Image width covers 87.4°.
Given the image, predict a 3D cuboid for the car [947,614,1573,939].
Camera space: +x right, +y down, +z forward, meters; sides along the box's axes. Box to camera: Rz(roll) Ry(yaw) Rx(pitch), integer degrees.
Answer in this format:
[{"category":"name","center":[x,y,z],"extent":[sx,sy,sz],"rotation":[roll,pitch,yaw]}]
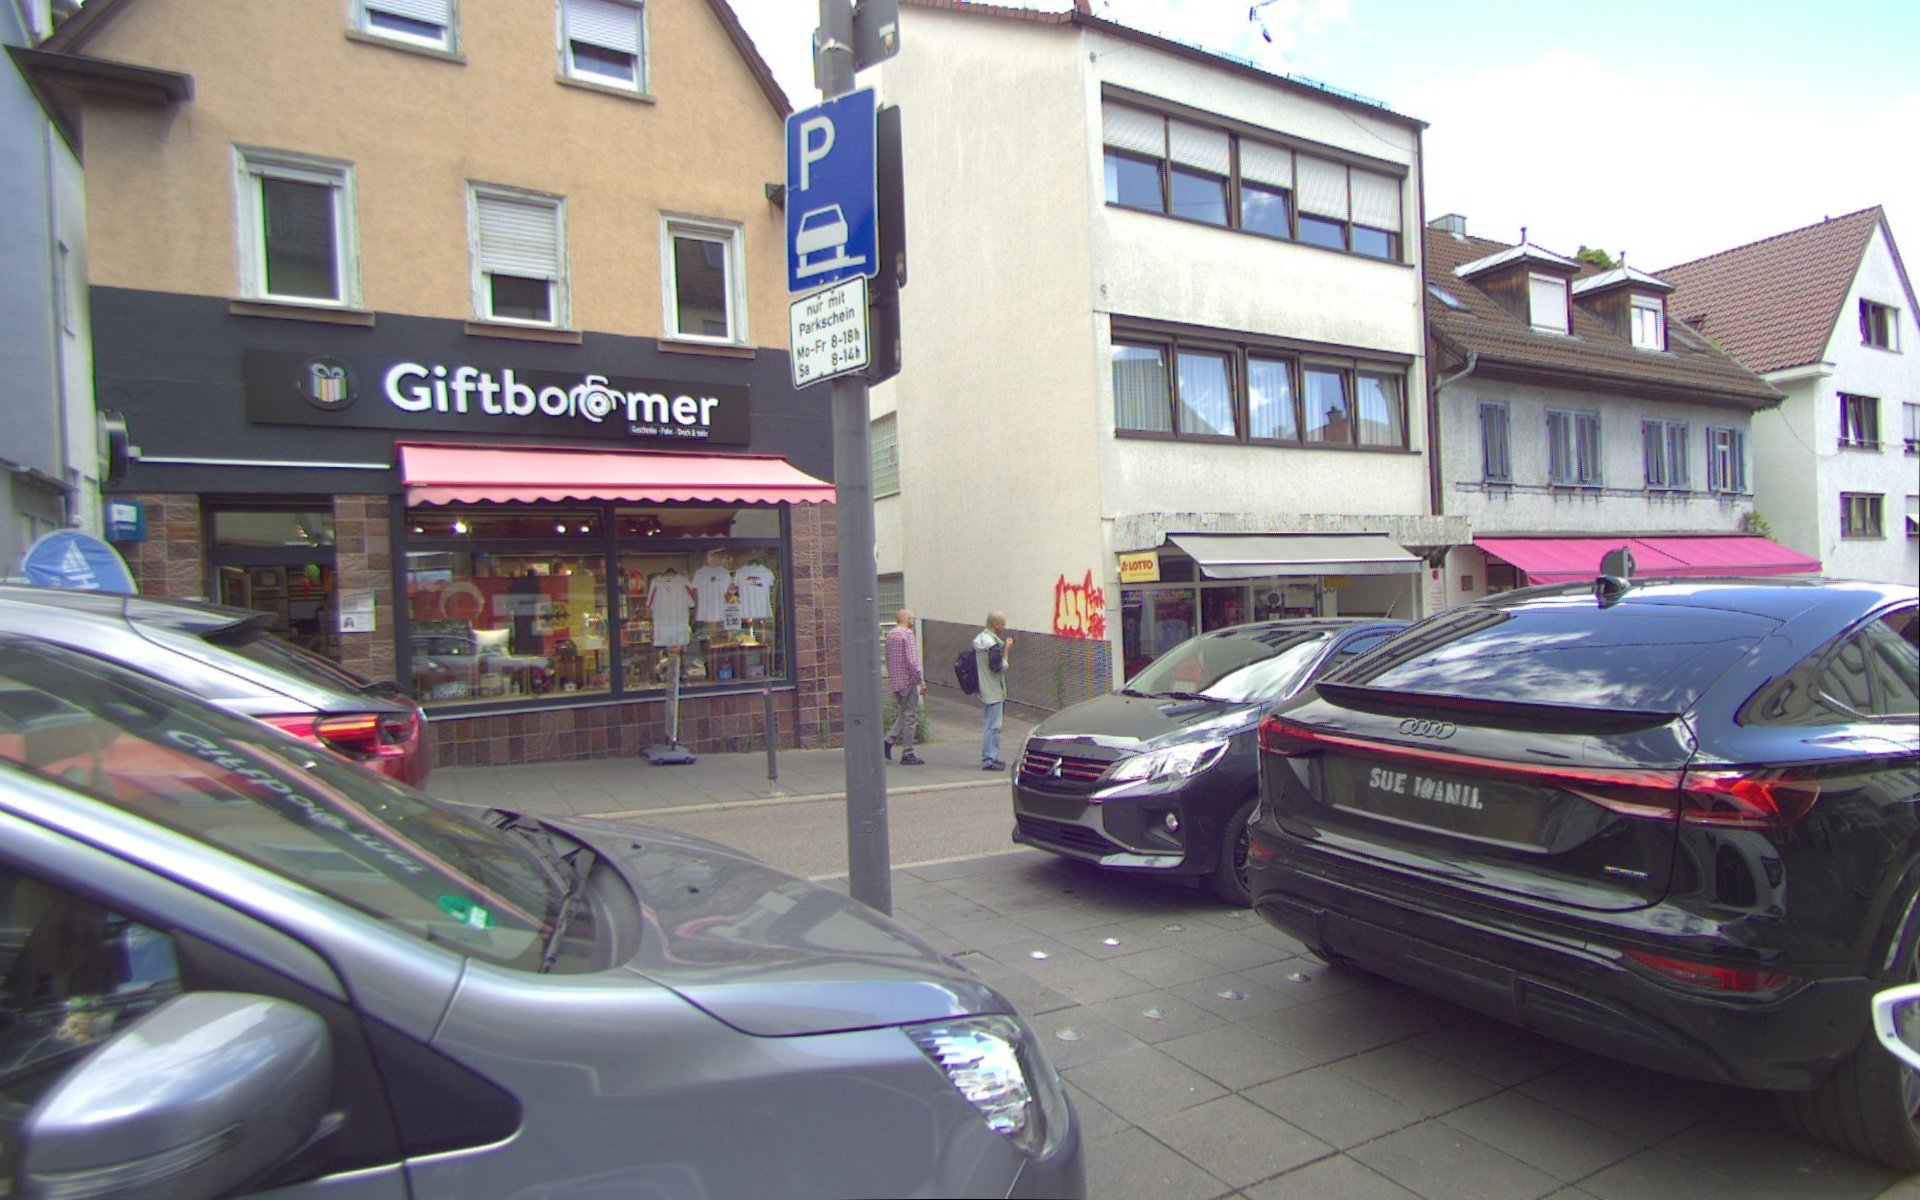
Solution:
[{"category":"car","center":[1.994,0.866,6.399],"extent":[3.841,1.495,1.730],"rotation":[1,-2,-32]}]

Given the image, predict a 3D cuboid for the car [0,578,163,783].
[{"category":"car","center":[-10.355,0.722,10.973],"extent":[1.860,1.898,4.054],"rotation":[0,1,-28]}]

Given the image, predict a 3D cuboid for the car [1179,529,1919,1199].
[{"category":"car","center":[3.149,0.718,4.086],"extent":[4.266,1.661,1.946],"rotation":[1,0,-32]}]

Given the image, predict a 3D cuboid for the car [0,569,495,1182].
[{"category":"car","center":[-3.687,0.711,2.826],"extent":[4.146,1.563,1.730],"rotation":[1,-3,-32]}]

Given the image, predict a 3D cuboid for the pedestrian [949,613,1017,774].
[{"category":"pedestrian","center":[0.264,1.010,11.083],"extent":[0.653,1.711,0.646],"rotation":[-1,-1,9]}]

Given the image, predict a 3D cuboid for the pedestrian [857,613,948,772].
[{"category":"pedestrian","center":[-0.649,1.006,11.305],"extent":[0.817,1.711,0.636],"rotation":[1,-1,-28]}]

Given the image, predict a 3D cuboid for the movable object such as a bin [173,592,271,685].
[{"category":"movable object such as a bin","center":[-12.805,0.658,17.521],"extent":[1.254,1.498,2.290],"rotation":[1,-1,-34]}]

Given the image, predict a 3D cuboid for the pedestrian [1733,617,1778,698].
[{"category":"pedestrian","center":[17.254,1.237,21.781],"extent":[0.570,1.711,0.575],"rotation":[1,0,-31]}]

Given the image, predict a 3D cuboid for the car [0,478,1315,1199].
[{"category":"car","center":[-1.432,0.674,1.235],"extent":[3.629,1.553,1.611],"rotation":[1,0,-32]}]
